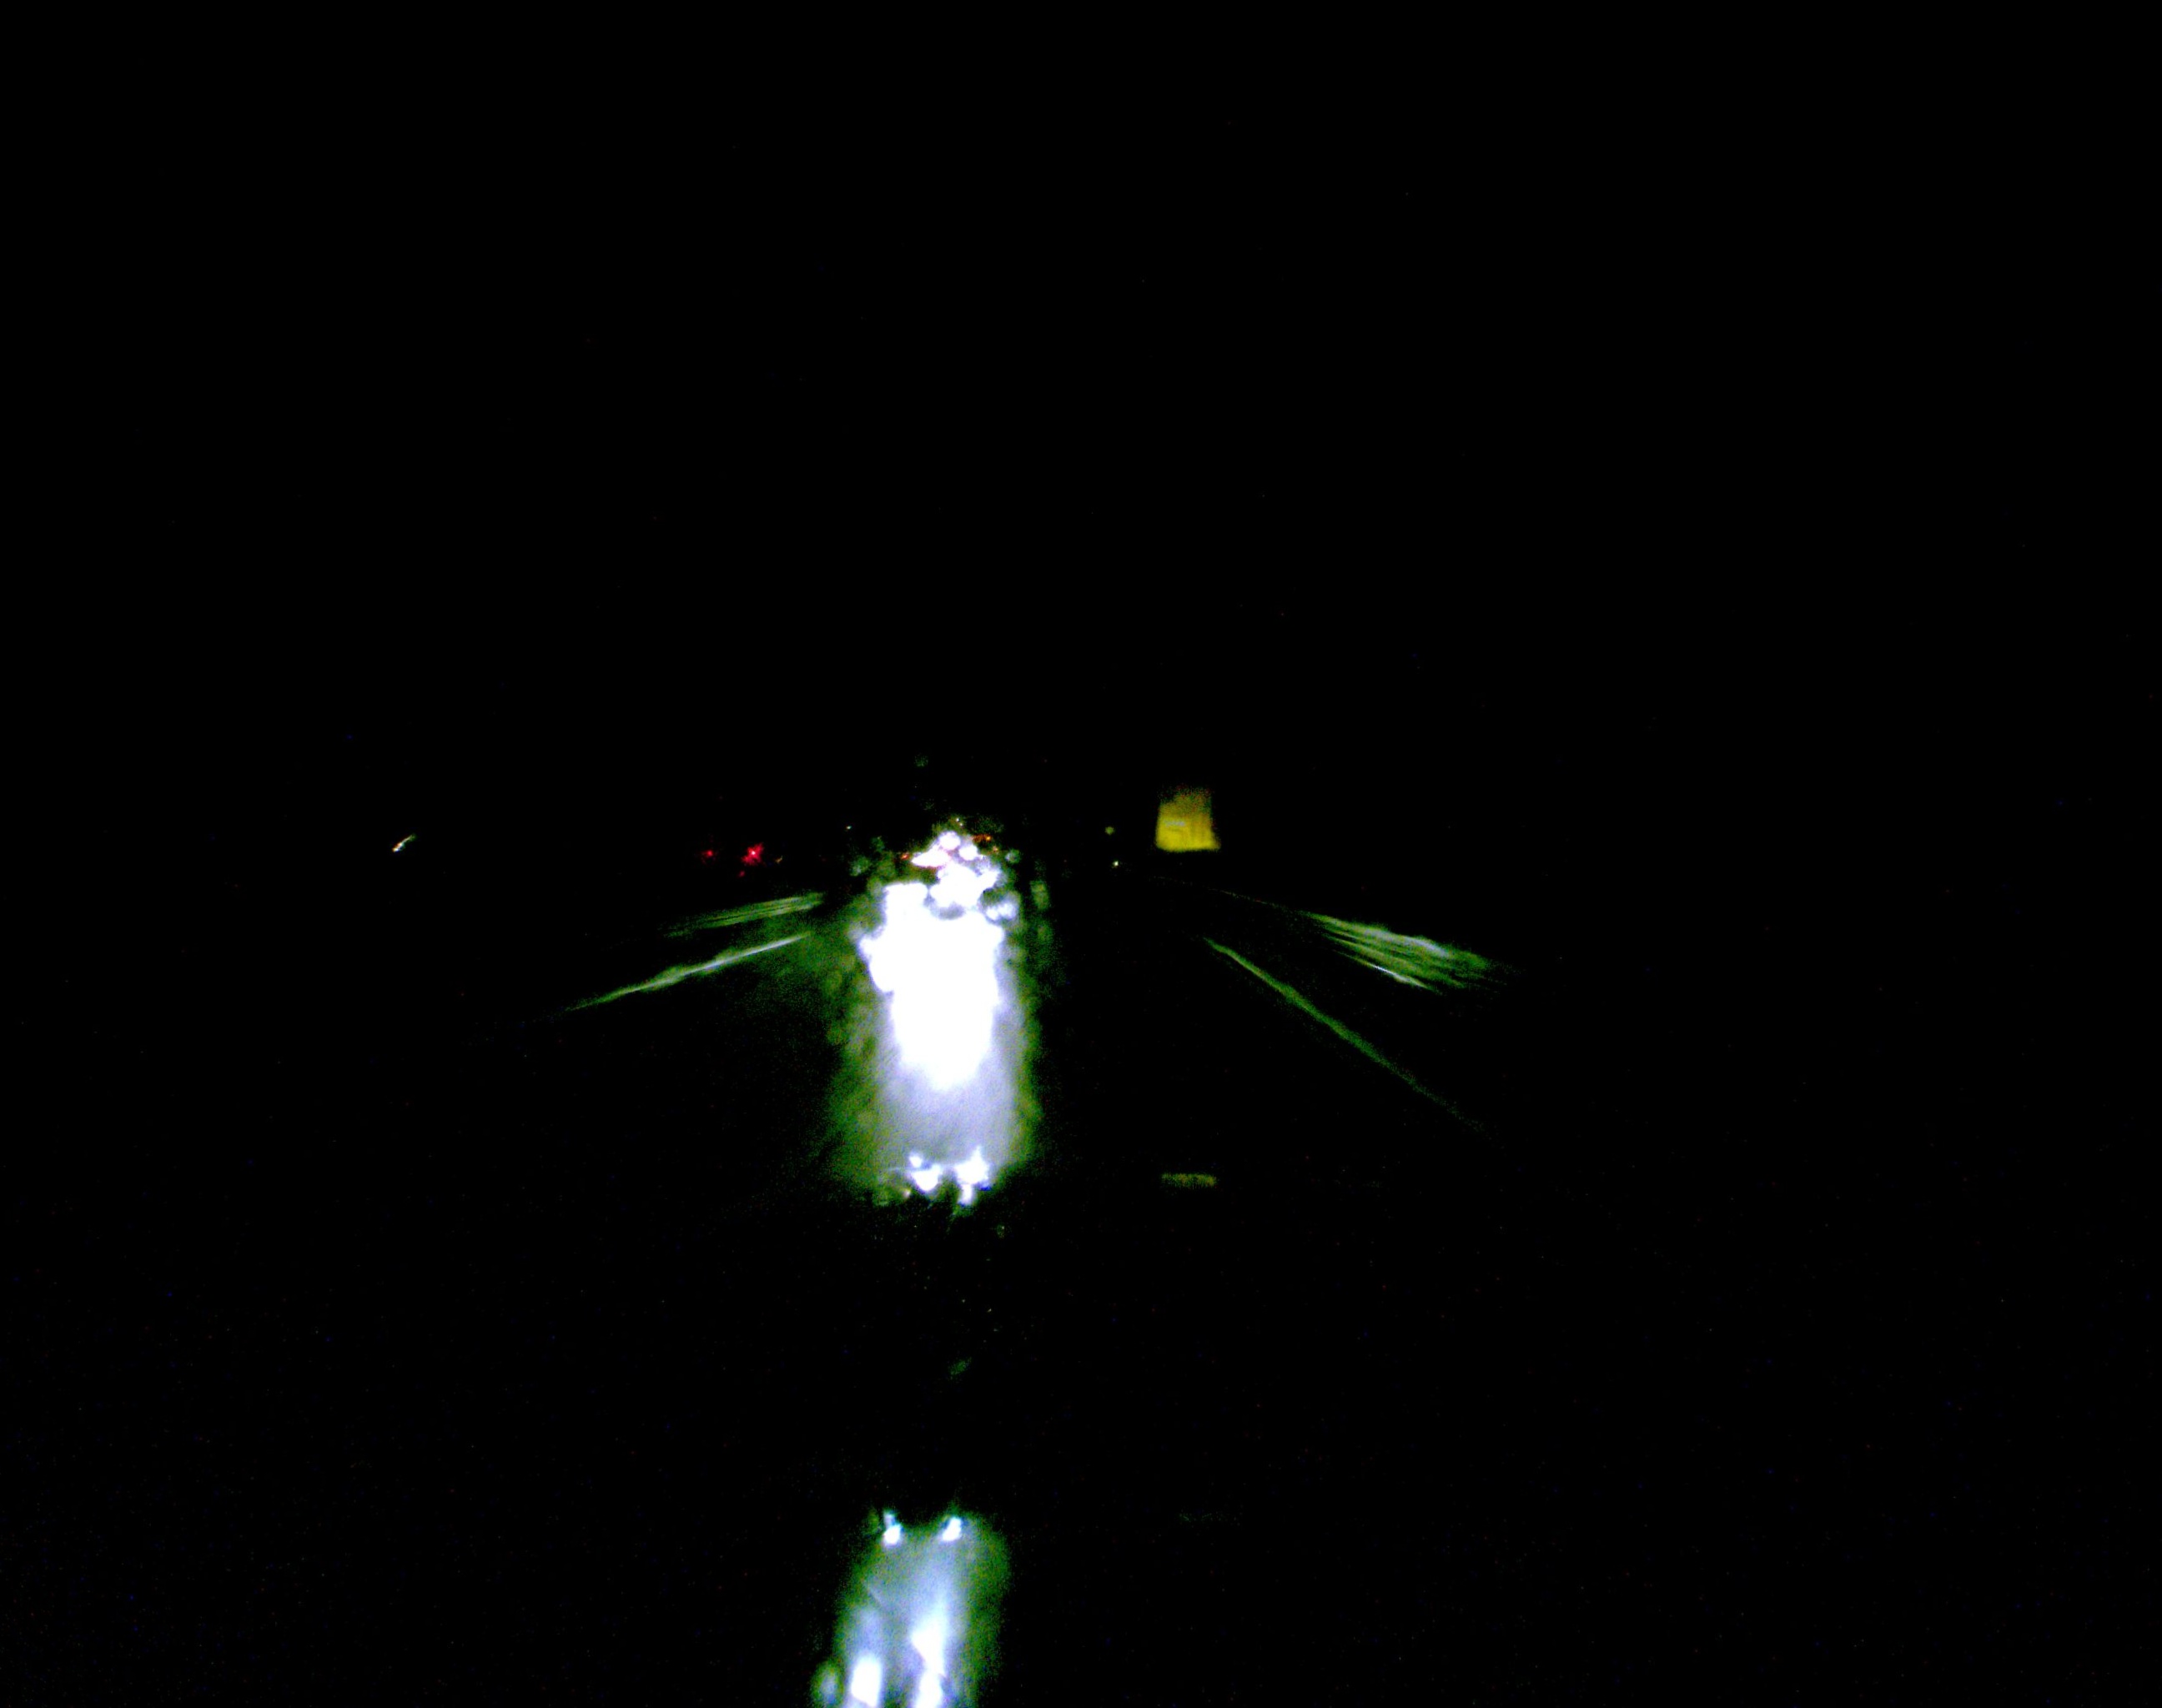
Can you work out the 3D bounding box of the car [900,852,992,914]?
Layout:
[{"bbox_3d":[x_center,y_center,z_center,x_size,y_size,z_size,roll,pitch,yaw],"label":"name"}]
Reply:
[{"bbox_3d":[-3.887,0.806,24.283,1.988,1.613,4.609,-2,0,-1],"label":"car"}]

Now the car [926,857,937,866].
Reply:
[{"bbox_3d":[-27.586,1.389,150.418,1.883,1.600,3.883,-1,-1,-13],"label":"car"}]
